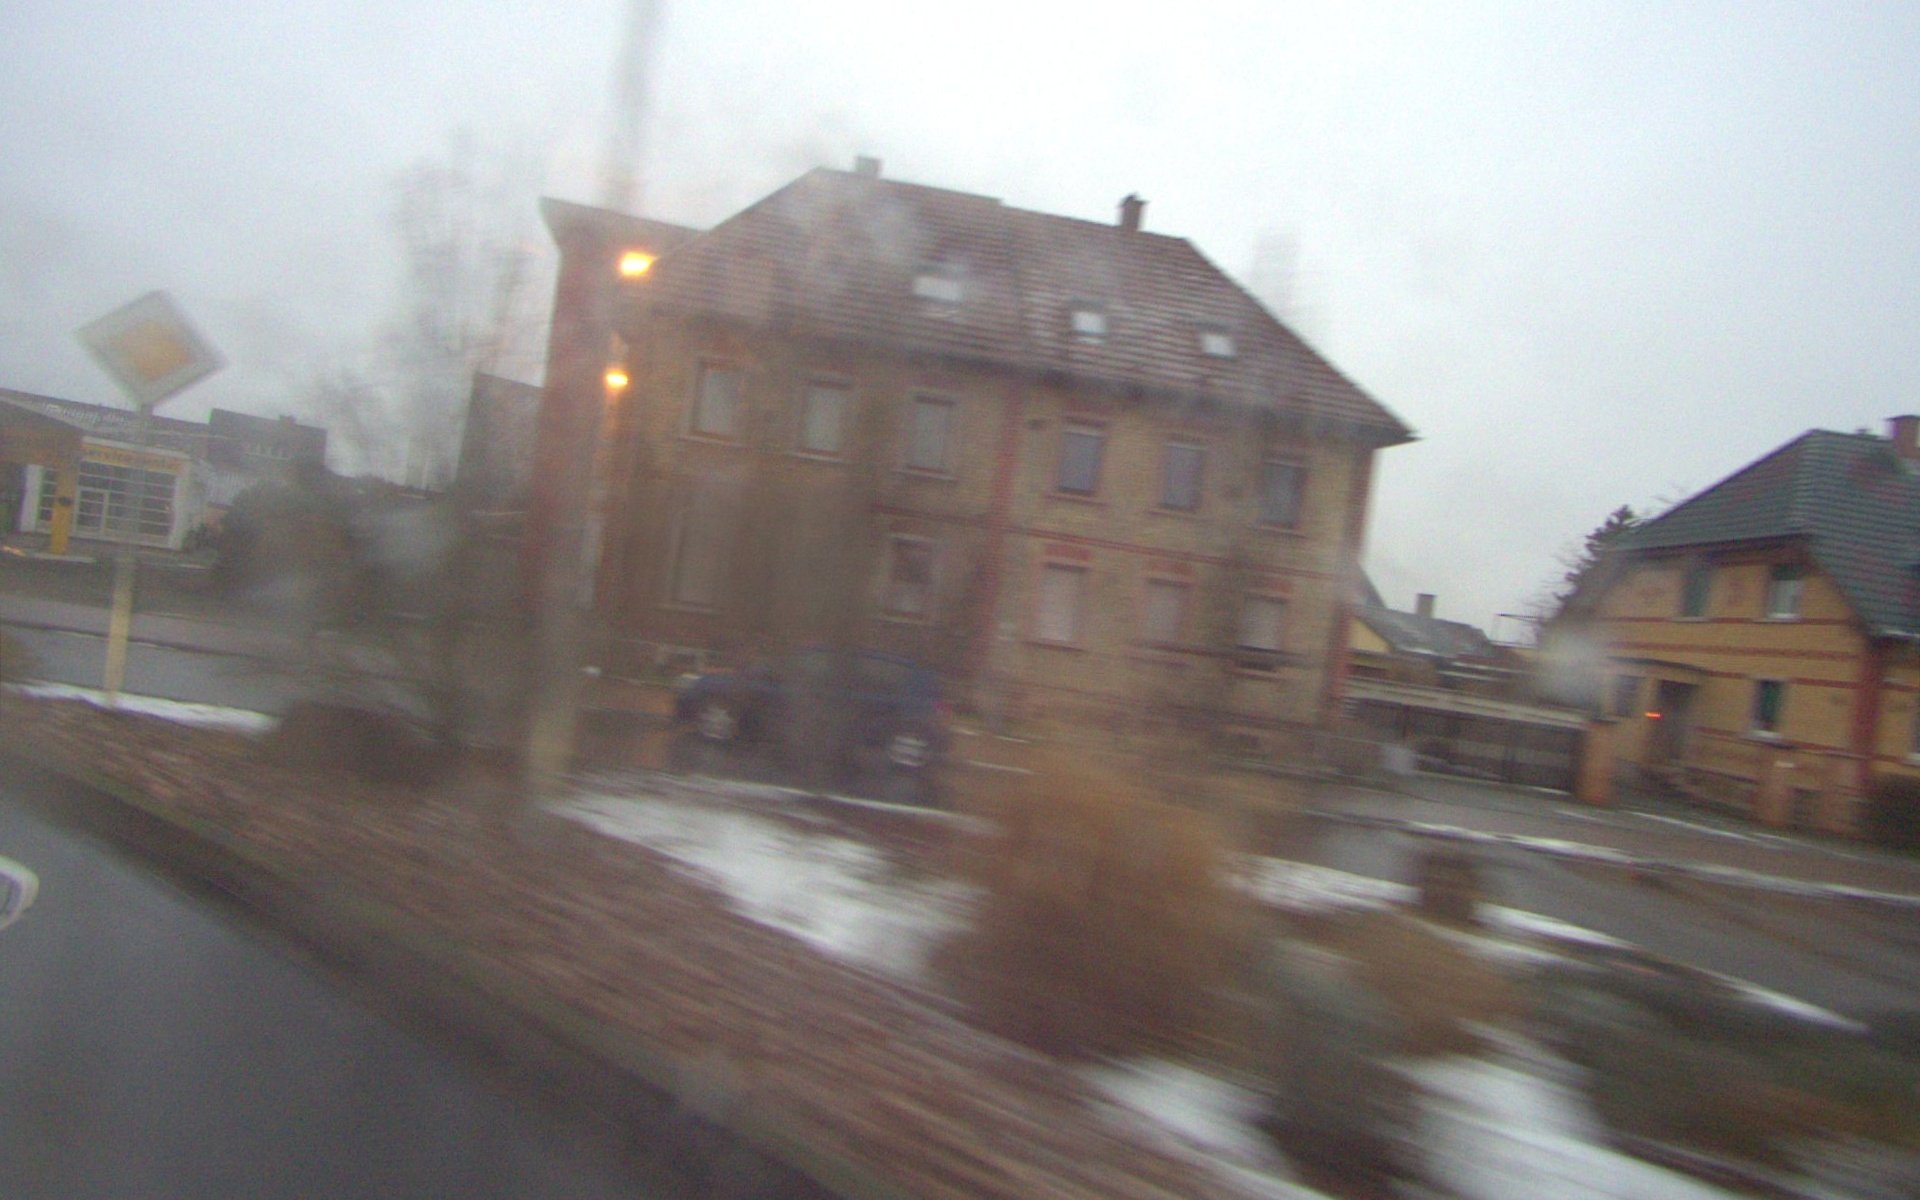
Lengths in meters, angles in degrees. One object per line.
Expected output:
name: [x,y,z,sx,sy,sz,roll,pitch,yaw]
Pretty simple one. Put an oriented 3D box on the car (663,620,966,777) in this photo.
car: [-1.797,1.227,12.925,3.517,1.399,1.286,9,-1,-4]
